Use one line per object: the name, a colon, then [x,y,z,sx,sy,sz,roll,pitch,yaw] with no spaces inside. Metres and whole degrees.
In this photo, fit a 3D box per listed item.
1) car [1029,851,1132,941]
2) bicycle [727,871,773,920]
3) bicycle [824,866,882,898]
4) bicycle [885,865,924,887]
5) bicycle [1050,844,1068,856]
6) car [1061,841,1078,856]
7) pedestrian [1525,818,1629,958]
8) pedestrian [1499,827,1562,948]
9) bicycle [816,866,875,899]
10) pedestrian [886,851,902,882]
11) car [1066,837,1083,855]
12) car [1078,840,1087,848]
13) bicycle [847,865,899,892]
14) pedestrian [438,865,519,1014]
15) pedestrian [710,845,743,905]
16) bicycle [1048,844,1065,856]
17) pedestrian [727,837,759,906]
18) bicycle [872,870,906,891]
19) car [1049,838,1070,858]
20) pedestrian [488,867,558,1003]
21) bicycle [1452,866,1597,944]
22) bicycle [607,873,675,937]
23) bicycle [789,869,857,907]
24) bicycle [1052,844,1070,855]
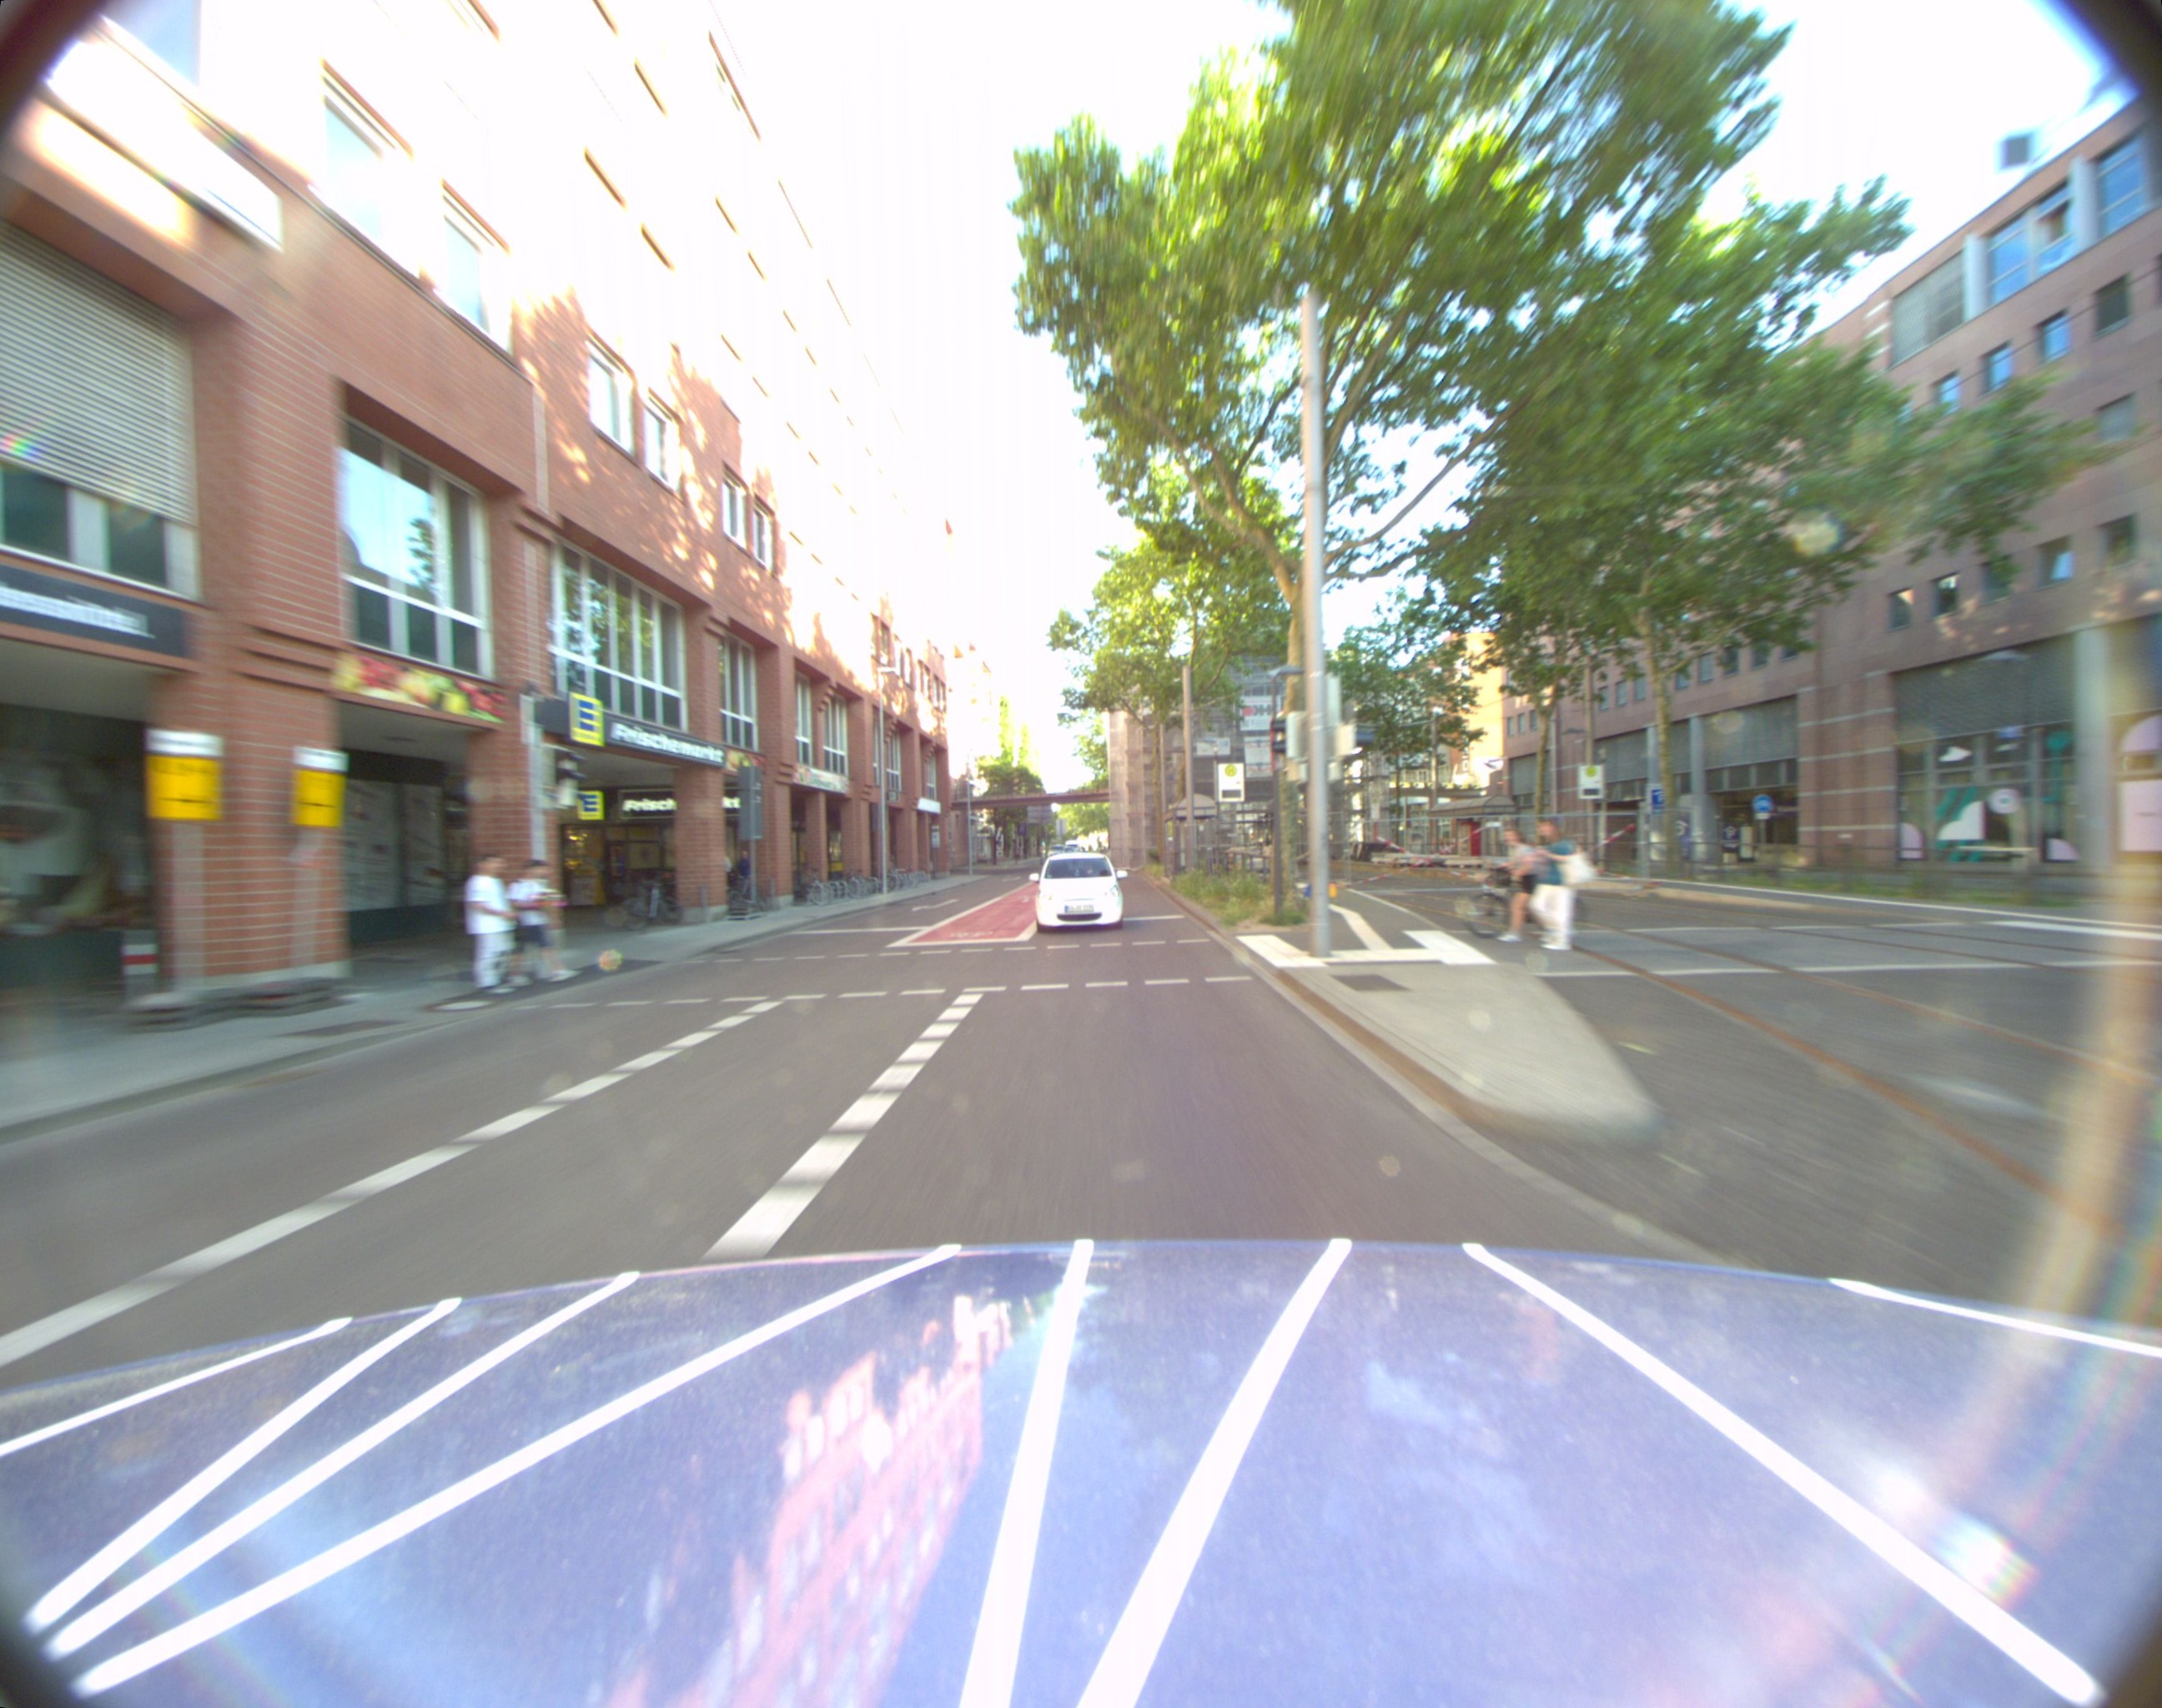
car: [-0.058,0.747,15.779,1.808,1.492,4.199,-2,1,-1]
bicycle: [-8.729,1.070,20.085,0.340,1.176,1.678,-2,1,3]
bicycle: [-8.292,1.012,27.630,1.896,1.113,0.550,-1,2,2]
bicycle: [-7.987,0.970,34.360,1.615,0.949,0.555,1,2,4]
bicycle: [-2.132,-0.400,73.091,1.678,1.061,0.501,-1,2,36]
car: [-1.425,-0.689,94.584,1.792,1.661,4.439,-2,1,1]
pedestrian: [6.439,0.419,9.907,0.779,1.724,0.848,-2,2,-1]
pedestrian: [6.356,0.463,10.762,0.567,1.670,0.531,-1,2,3]
bicycle: [-8.320,1.010,26.833,1.896,1.113,0.475,-1,2,2]
pedestrian: [-10.041,0.643,40.850,0.570,1.624,0.778,-2,2,1]
car: [-0.873,-1.246,112.305,2.120,2.550,5.904,-2,1,2]
car: [0.419,-2.393,179.383,1.998,1.524,3.999,-3,2,2]
bicycle: [-8.371,0.967,30.563,1.937,1.051,0.573,0,2,5]
pedestrian: [-7.500,1.041,9.473,0.477,1.782,0.541,-2,2,2]
pedestrian: [-10.811,0.631,23.196,0.660,1.786,0.609,-2,2,-2]
bicycle: [-2.326,-0.371,72.292,1.678,1.061,0.501,-1,2,36]
pedestrian: [-10.097,0.514,22.713,0.609,2.002,0.660,-2,2,-3]
bicycle: [-8.021,1.089,31.764,1.337,0.836,0.425,1,2,4]
car: [-2.332,-0.691,83.025,1.923,2.067,5.169,-2,1,2]
pedestrian: [-7.463,1.054,10.190,0.631,1.715,0.634,-3,2,-32]
bicycle: [6.555,0.753,11.272,1.833,1.072,0.481,-2,2,3]
bicycle: [-9.488,1.071,16.437,0.340,1.249,1.710,-2,1,3]
bicycle: [-7.893,1.036,23.296,1.896,1.113,0.475,-1,2,2]
bicycle: [-2.030,-0.464,75.326,1.679,1.061,0.512,-2,2,25]
